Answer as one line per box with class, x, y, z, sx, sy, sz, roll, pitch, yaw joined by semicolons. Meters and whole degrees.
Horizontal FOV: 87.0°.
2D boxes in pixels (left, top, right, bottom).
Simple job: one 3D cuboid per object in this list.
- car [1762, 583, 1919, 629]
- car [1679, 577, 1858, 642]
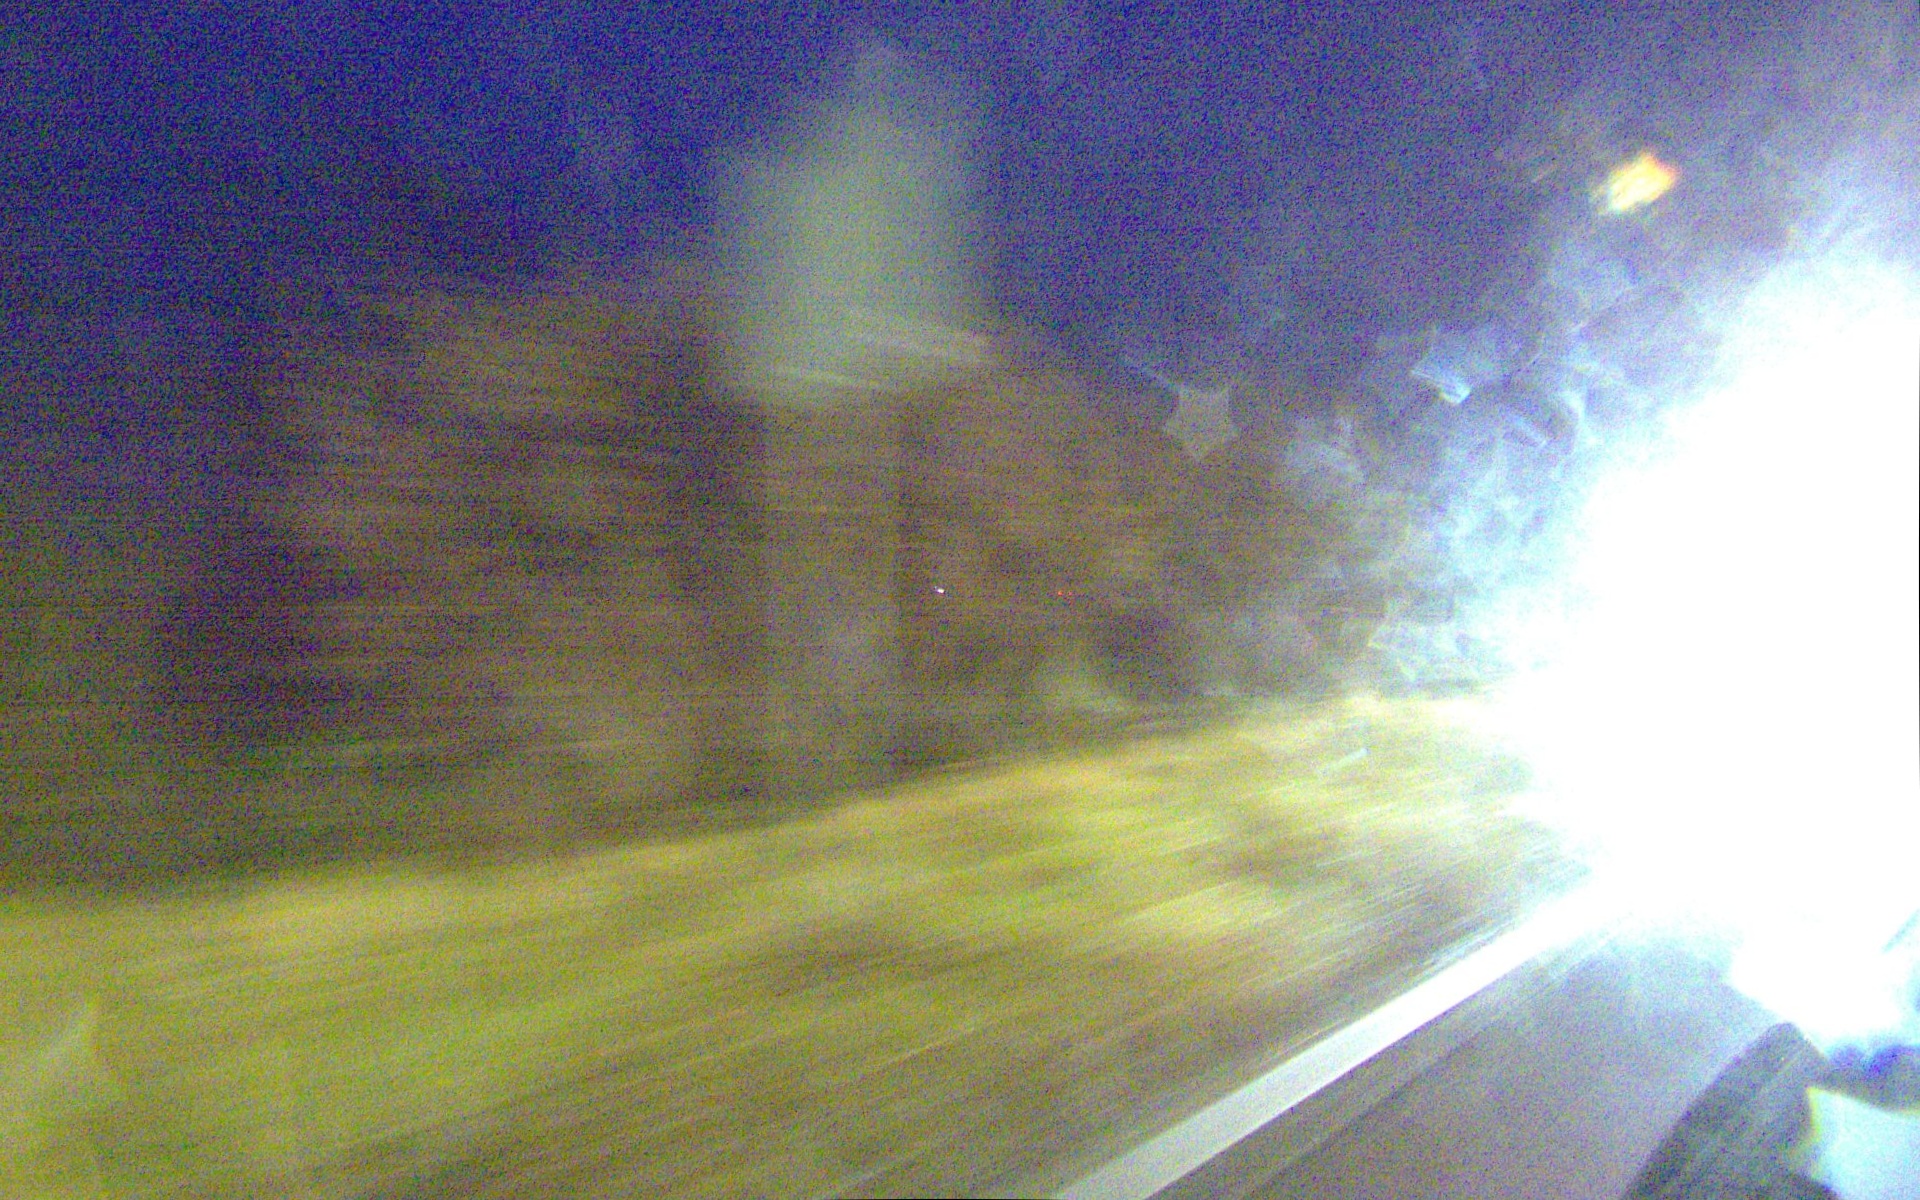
car;29.758;0.157;33.964;1.648;1.463;4.178;0;1;-32
car;21.587;0.206;27.258;1.657;1.551;3.986;-2;1;2
